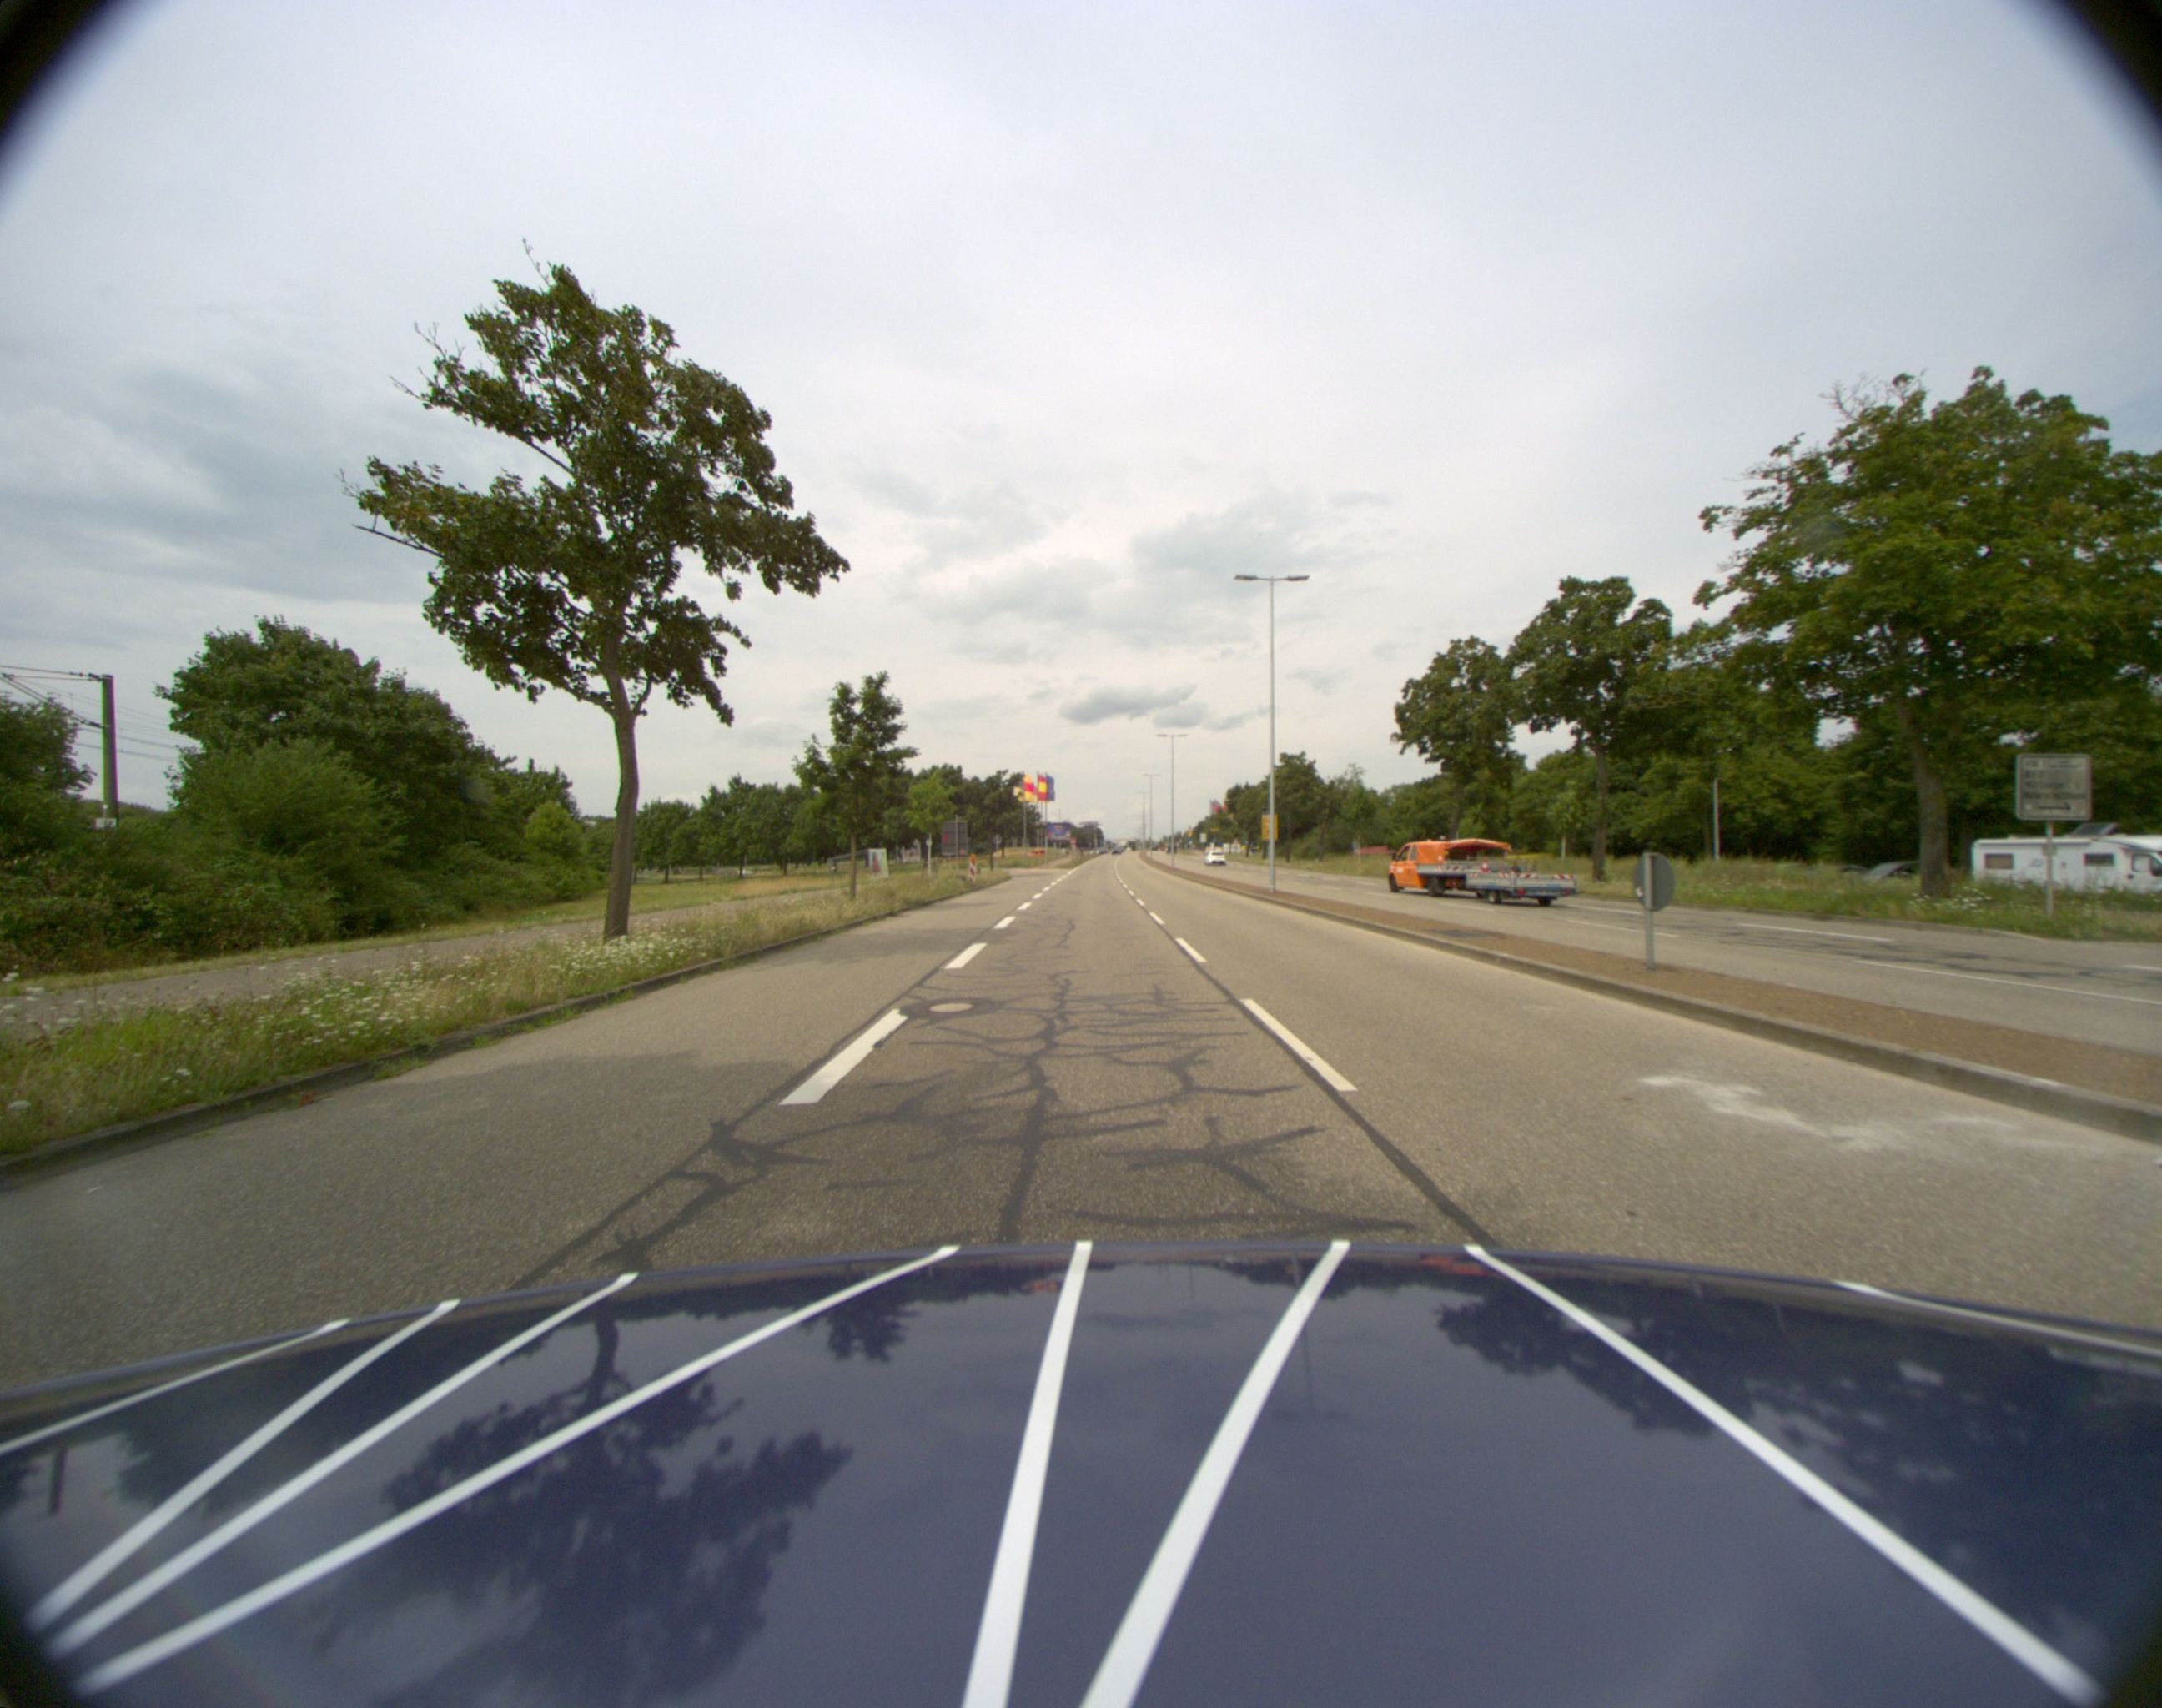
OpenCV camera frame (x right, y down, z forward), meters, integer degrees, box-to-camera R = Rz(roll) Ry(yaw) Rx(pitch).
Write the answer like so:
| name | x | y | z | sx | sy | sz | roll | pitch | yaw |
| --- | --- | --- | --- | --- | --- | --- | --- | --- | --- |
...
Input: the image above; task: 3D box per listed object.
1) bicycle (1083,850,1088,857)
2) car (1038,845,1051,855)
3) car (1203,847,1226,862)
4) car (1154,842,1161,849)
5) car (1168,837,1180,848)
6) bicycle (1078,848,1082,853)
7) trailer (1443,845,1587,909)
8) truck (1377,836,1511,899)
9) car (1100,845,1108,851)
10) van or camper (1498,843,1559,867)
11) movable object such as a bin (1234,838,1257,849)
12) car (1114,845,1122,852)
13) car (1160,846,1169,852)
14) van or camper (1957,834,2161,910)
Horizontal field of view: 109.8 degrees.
| name | x | y | z | sx | sy | sz | roll | pitch | yaw |
| --- | --- | --- | --- | --- | --- | --- | --- | --- | --- |
| bicycle | 0.688 | -0.143 | 125.518 | 0.695 | 1.185 | 2.461 | 0 | 0 | 3 |
| car | -6.798 | -0.709 | 143.231 | 1.892 | 1.824 | 4.431 | -2 | 0 | 3 |
| car | 13.761 | 0.071 | 78.317 | 1.721 | 1.411 | 4.160 | 1 | 0 | 2 |
| car | 23.798 | -2.639 | 236.737 | 1.998 | 1.801 | 4.798 | 0 | 0 | 2 |
| car | 20.034 | -2.442 | 163.968 | 2.100 | 2.188 | 6.004 | 0 | 0 | 1 |
| bicycle | -0.164 | -0.566 | 119.826 | 0.624 | 0.883 | 2.154 | -1 | 1 | 2 |
| trailer | 12.510 | 0.604 | 22.222 | 2.067 | 1.680 | 3.895 | 1 | 1 | 2 |
| truck | 12.667 | 0.439 | 27.079 | 2.093 | 1.983 | 6.040 | 1 | 0 | 2 |
| car | 5.219 | -1.328 | 171.561 | 1.558 | 1.230 | 3.470 | -2 | 0 | 3 |
| van or camper | 40.947 | 0.058 | 69.637 | 4.361 | 2.002 | 2.001 | -2 | 1 | 11 |
| movable object such as a bin | 36.396 | -2.274 | 167.983 | 4.592 | 2.383 | 1.999 | -1 | 0 | -6 |
| car | 7.561 | -1.112 | 156.026 | 1.558 | 1.230 | 3.470 | -2 | 0 | 3 |
| car | 20.849 | -1.307 | 189.320 | 1.998 | 1.422 | 4.689 | 0 | 0 | 3 |
| van or camper | 37.191 | 0.603 | 27.881 | 2.478 | 2.526 | 6.721 | -1 | 0 | 1 |
